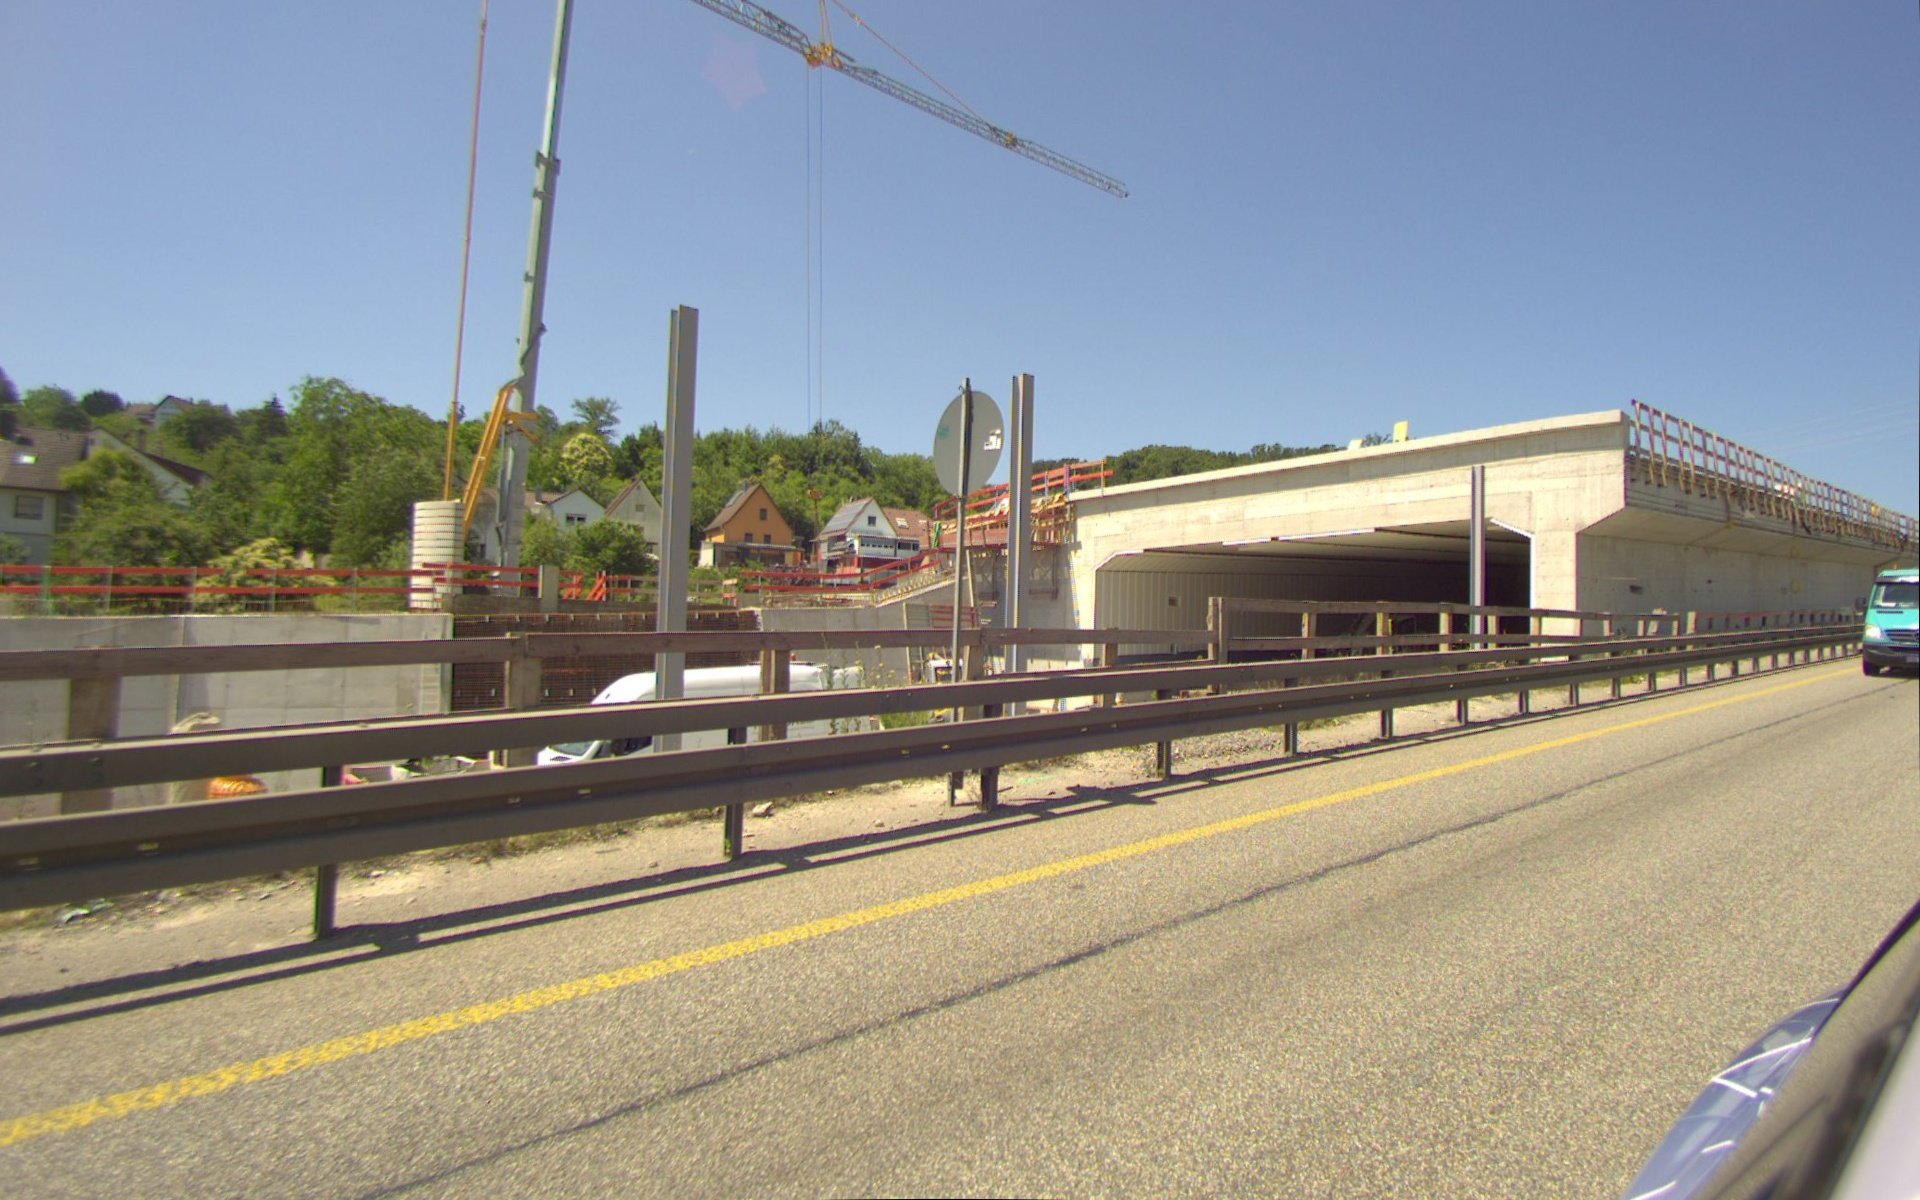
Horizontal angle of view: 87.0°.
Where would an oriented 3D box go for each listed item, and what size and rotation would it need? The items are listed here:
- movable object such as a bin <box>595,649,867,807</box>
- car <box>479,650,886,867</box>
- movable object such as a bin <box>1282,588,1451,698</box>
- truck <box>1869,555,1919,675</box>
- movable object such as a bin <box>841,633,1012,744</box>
[{"bbox_3d":[-4.912,2.608,22.161,5.398,2.710,2.151,-1,1,-37],"label":"movable object such as a bin"},{"bbox_3d":[-4.835,2.588,18.540,6.893,2.891,2.151,-1,1,-37],"label":"car"},{"bbox_3d":[17.399,1.621,42.929,8.998,4.113,2.958,-1,1,-41],"label":"movable object such as a bin"},{"bbox_3d":[22.130,0.232,22.338,7.303,2.386,2.138,-1,1,-40],"label":"truck"},{"bbox_3d":[-1.328,2.953,31.994,3.425,2.941,7.159,-1,-8,-18],"label":"movable object such as a bin"}]
